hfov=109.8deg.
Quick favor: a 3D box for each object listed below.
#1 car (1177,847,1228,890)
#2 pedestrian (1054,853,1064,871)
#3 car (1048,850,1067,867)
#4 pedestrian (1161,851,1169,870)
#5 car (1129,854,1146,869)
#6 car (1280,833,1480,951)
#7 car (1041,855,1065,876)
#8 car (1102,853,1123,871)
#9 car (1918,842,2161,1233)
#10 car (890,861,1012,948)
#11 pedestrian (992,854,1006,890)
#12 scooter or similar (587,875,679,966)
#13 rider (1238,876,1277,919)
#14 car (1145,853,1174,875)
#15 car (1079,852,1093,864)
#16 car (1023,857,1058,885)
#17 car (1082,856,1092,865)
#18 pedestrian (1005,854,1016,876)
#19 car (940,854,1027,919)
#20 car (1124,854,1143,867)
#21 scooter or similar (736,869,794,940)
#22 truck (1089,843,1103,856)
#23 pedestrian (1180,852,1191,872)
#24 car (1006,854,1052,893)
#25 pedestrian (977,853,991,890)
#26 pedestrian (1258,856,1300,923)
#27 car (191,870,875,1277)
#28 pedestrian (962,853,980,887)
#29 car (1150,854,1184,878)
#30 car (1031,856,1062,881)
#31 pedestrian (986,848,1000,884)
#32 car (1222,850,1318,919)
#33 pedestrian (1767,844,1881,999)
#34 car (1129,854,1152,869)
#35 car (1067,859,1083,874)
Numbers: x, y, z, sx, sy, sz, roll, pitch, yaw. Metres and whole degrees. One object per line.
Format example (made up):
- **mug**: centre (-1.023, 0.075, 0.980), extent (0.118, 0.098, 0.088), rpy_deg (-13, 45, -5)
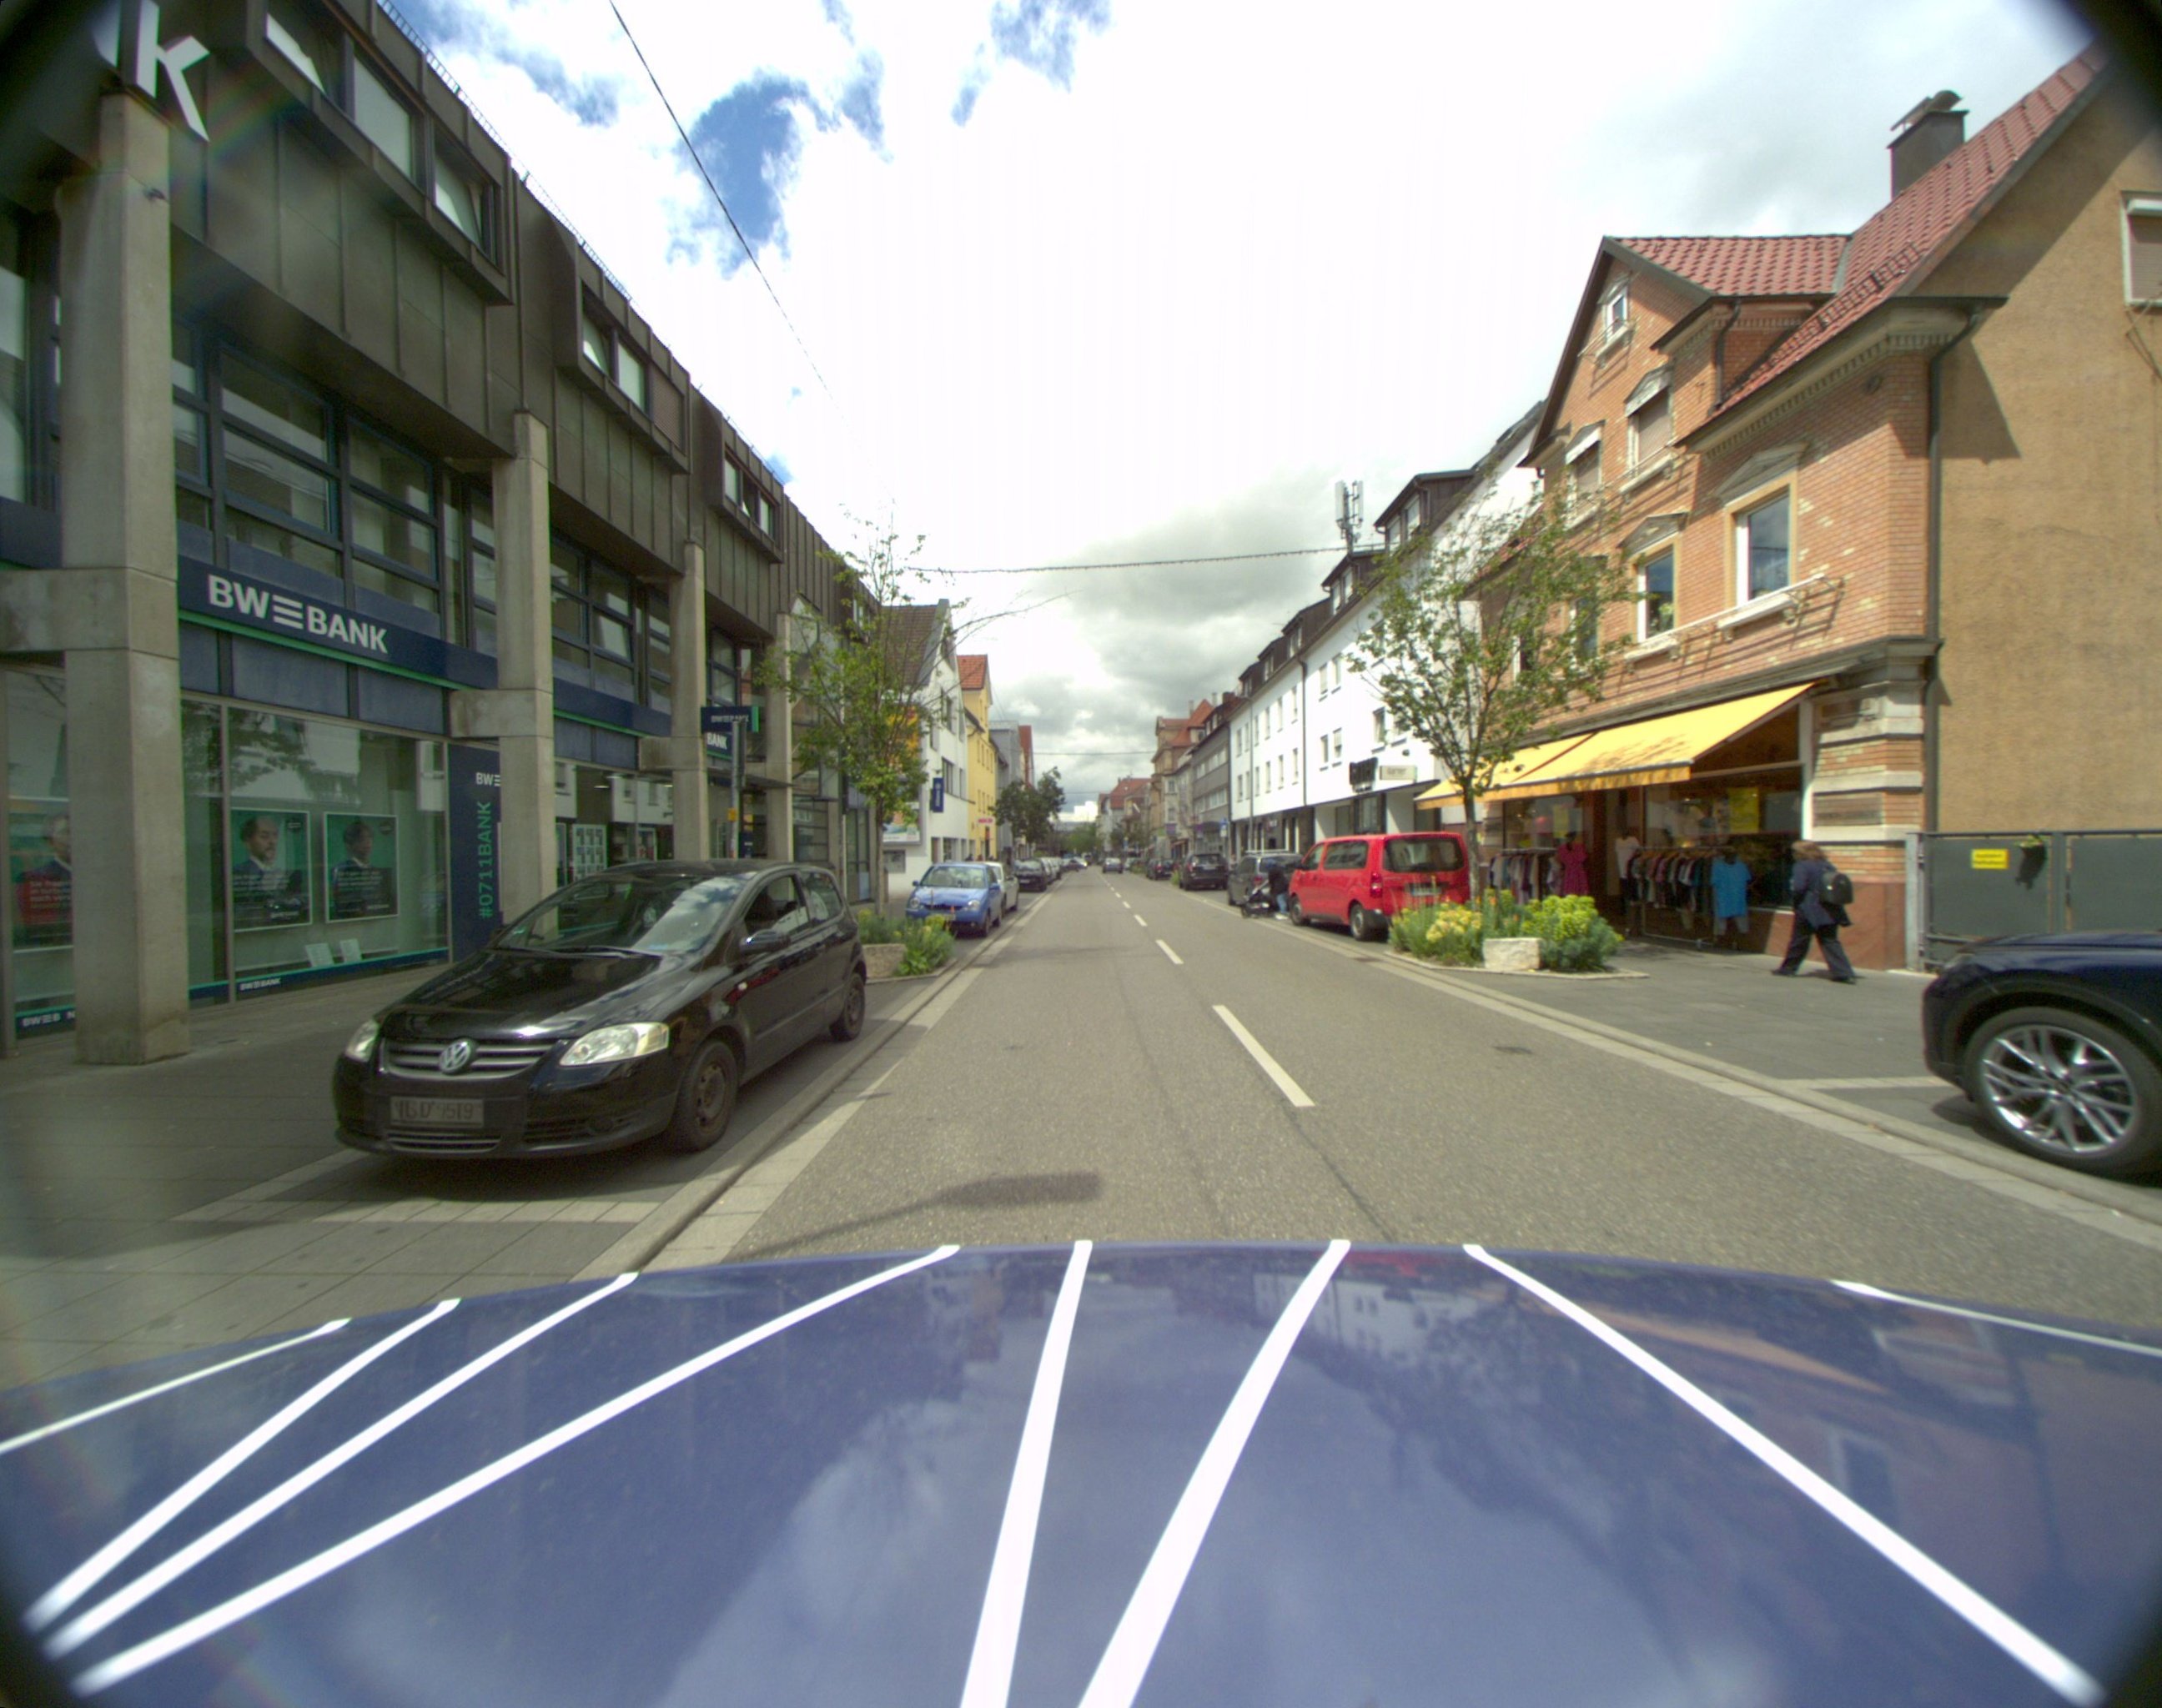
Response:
- **car**: centre (5.543, 0.617, 35.211), extent (1.820, 1.745, 4.669), rpy_deg (-2, 1, 3)
- **pedestrian**: centre (-2.261, 0.812, 78.704), extent (0.978, 1.853, 0.864), rpy_deg (1, 1, -1)
- **car**: centre (-2.334, 0.468, 76.008), extent (1.804, 1.594, 4.203), rpy_deg (1, 0, -1)
- **pedestrian**: centre (7.758, 0.604, 70.010), extent (0.549, 1.747, 0.728), rpy_deg (-2, 1, -3)
- **car**: centre (6.084, 0.801, 81.517), extent (1.590, 1.406, 3.668), rpy_deg (-2, 1, 2)
- **car**: centre (5.564, 0.600, 14.943), extent (1.821, 1.878, 4.839), rpy_deg (-2, 1, -2)
- **car**: centre (-2.096, 0.875, 56.572), extent (1.694, 1.463, 4.523), rpy_deg (-2, -1, -2)
- **car**: centre (3.091, 0.789, 74.883), extent (1.910, 1.554, 4.645), rpy_deg (-2, 1, 1)
- **car**: centre (5.291, 0.743, 1.807), extent (1.804, 1.589, 4.389), rpy_deg (-1, 0, 1)
- **car**: centre (-2.623, 0.965, 16.304), extent (1.725, 1.485, 4.109), rpy_deg (-2, 1, 2)
- **pedestrian**: centre (-4.217, 0.913, 39.243), extent (0.589, 1.830, 0.576), rpy_deg (-2, 1, 1)
- **scooter or similar**: centre (-6.871, 0.977, 11.738), extent (0.423, 1.238, 1.561), rpy_deg (-2, 1, 0)
- **rider**: centre (4.454, 1.089, 19.207), extent (0.805, 1.007, 0.707), rpy_deg (-2, 1, 3)
- **car**: centre (6.014, 0.756, 58.529), extent (1.794, 1.504, 4.712), rpy_deg (-2, 1, 1)
- **car**: centre (0.734, 0.598, 109.280), extent (1.804, 1.594, 4.203), rpy_deg (1, 0, -1)
- **car**: centre (-2.374, 0.963, 45.325), extent (1.725, 1.467, 4.353), rpy_deg (-2, 1, 1)
- **car**: centre (1.143, 1.130, 141.031), extent (1.536, 1.521, 3.757), rpy_deg (-2, 1, -3)
- **pedestrian**: centre (-5.061, 0.772, 54.570), extent (0.751, 1.544, 0.726), rpy_deg (0, 1, 0)
- **car**: centre (-2.654, 0.853, 21.725), extent (1.725, 1.567, 4.429), rpy_deg (3, 0, 2)
- **car**: centre (6.361, 0.774, 92.741), extent (1.850, 1.390, 4.035), rpy_deg (-2, 1, -2)
- **scooter or similar**: centre (-6.126, 0.952, 14.812), extent (0.423, 1.238, 1.561), rpy_deg (-2, 1, 0)
- **truck**: centre (2.982, -0.926, 152.581), extent (2.112, 2.292, 6.472), rpy_deg (-2, 1, -5)
- **pedestrian**: centre (8.646, 0.646, 62.600), extent (0.733, 1.609, 0.651), rpy_deg (-2, 1, -4)
- **car**: centre (-2.371, 0.866, 35.739), extent (1.725, 1.568, 4.109), rpy_deg (-2, 1, 2)
- **pedestrian**: centre (-5.018, 0.900, 39.308), extent (0.589, 1.830, 0.576), rpy_deg (-2, 1, 1)
- **pedestrian**: centre (4.820, 0.841, 18.546), extent (0.807, 1.565, 0.779), rpy_deg (-2, 1, 3)
- **car**: centre (-2.722, 0.919, 4.944), extent (1.613, 1.523, 3.795), rpy_deg (0, 0, 2)
- **pedestrian**: centre (-5.783, 0.821, 40.048), extent (0.743, 1.727, 0.757), rpy_deg (-2, 1, 1)
- **car**: centre (5.897, 0.801, 52.277), extent (1.795, 1.495, 4.177), rpy_deg (-2, 1, 0)
- **car**: centre (-2.270, 0.914, 50.884), extent (1.634, 1.467, 4.957), rpy_deg (-2, 1, 2)
- **pedestrian**: centre (-4.656, 0.624, 40.002), extent (0.589, 1.830, 0.576), rpy_deg (-2, 1, 1)
- **car**: centre (5.472, 0.810, 22.537), extent (1.820, 1.745, 4.463), rpy_deg (-2, 1, 2)
- **pedestrian**: centre (8.138, 0.709, 8.349), extent (0.590, 1.623, 0.661), rpy_deg (-2, 1, 1)
- **car**: centre (5.985, 0.727, 77.035), extent (1.602, 1.437, 3.555), rpy_deg (-1, 0, -7)
- **car**: centre (-0.655, 1.389, 85.761), extent (1.724, 1.517, 3.598), rpy_deg (-1, 0, 1)
